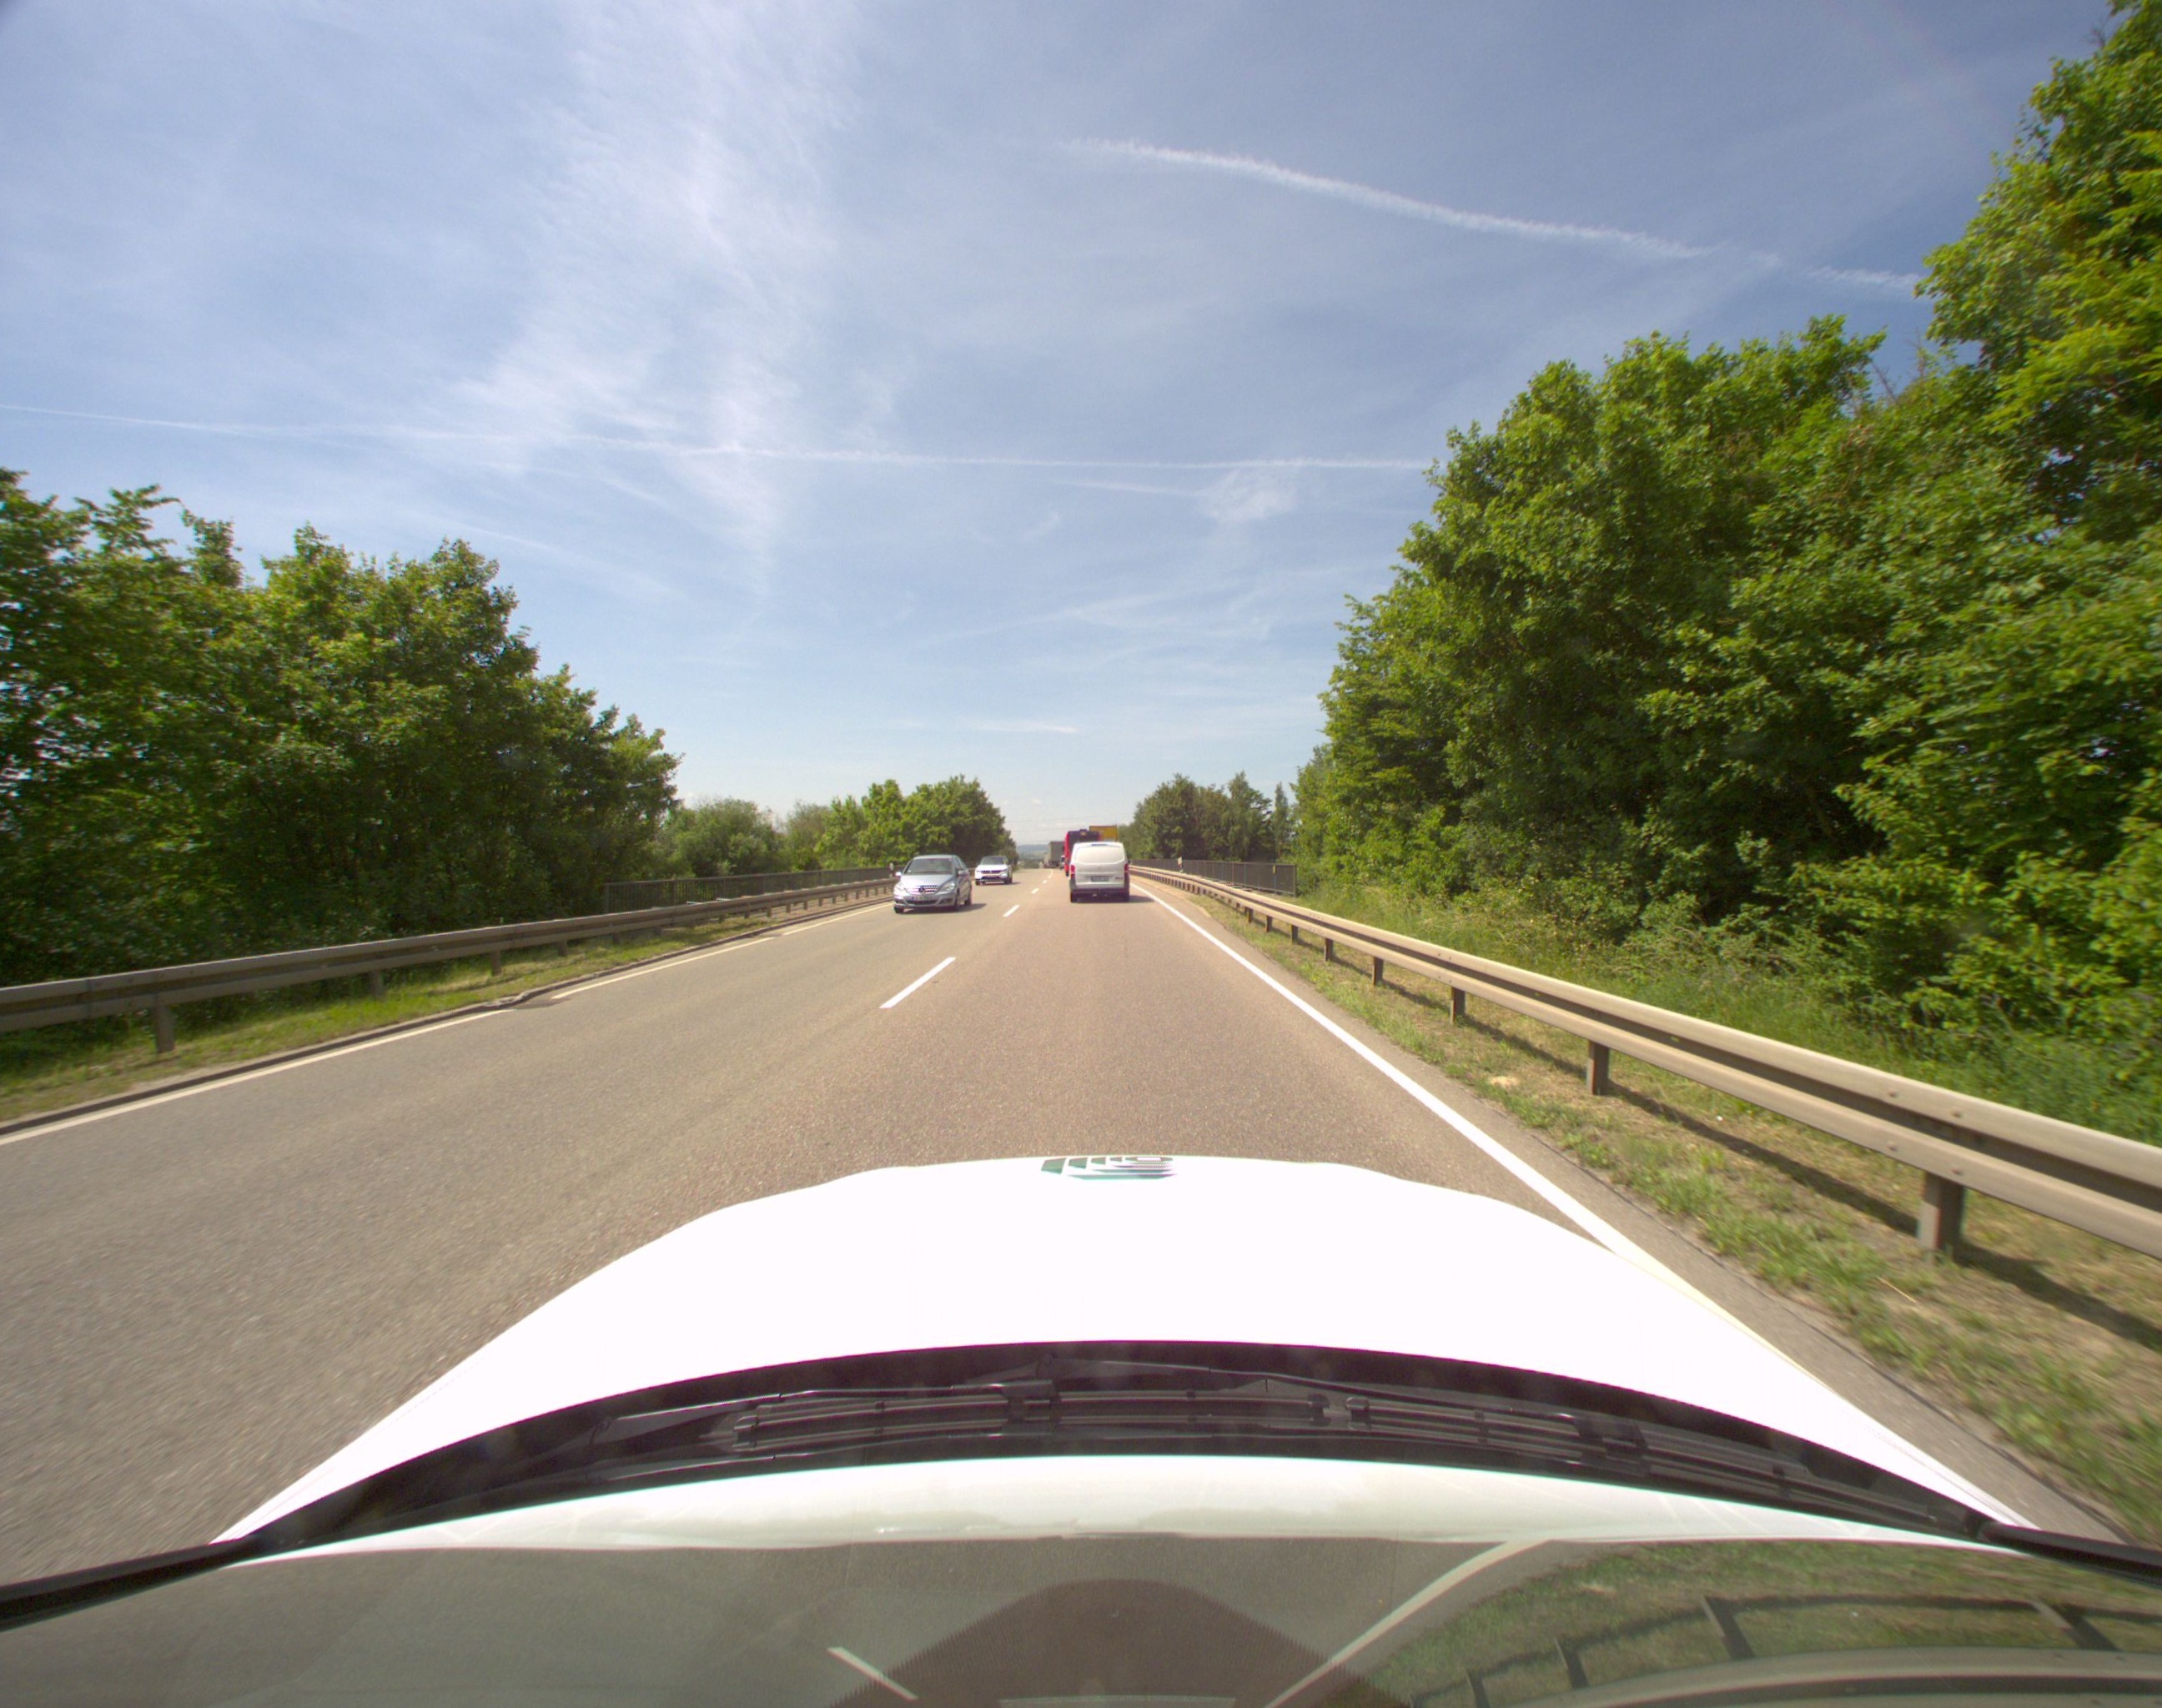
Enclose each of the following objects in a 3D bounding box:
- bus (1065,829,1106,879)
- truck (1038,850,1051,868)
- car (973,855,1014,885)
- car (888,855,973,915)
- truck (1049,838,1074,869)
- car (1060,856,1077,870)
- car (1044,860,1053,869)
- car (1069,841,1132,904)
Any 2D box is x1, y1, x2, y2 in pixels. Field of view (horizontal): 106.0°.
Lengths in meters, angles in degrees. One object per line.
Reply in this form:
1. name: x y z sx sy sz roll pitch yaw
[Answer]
1. bus: 0.186 0.017 62.634 2.739 3.353 13.215 -2 0 -1
2. truck: -9.555 1.248 210.505 3.029 4.454 14.883 -2 0 -3
3. car: -4.799 0.856 45.286 1.874 1.511 4.540 -2 0 -2
4. car: -4.313 0.820 23.934 1.655 1.551 4.336 -2 0 0
5. truck: -3.153 -0.034 126.136 3.480 4.423 14.887 -2 0 -3
6. car: -1.624 1.128 103.301 1.990 1.816 3.993 0 0 -5
7. car: -7.589 2.416 188.109 1.988 1.816 3.997 0 0 -2
8. car: 0.580 0.542 26.678 1.917 1.889 3.999 0 0 0
